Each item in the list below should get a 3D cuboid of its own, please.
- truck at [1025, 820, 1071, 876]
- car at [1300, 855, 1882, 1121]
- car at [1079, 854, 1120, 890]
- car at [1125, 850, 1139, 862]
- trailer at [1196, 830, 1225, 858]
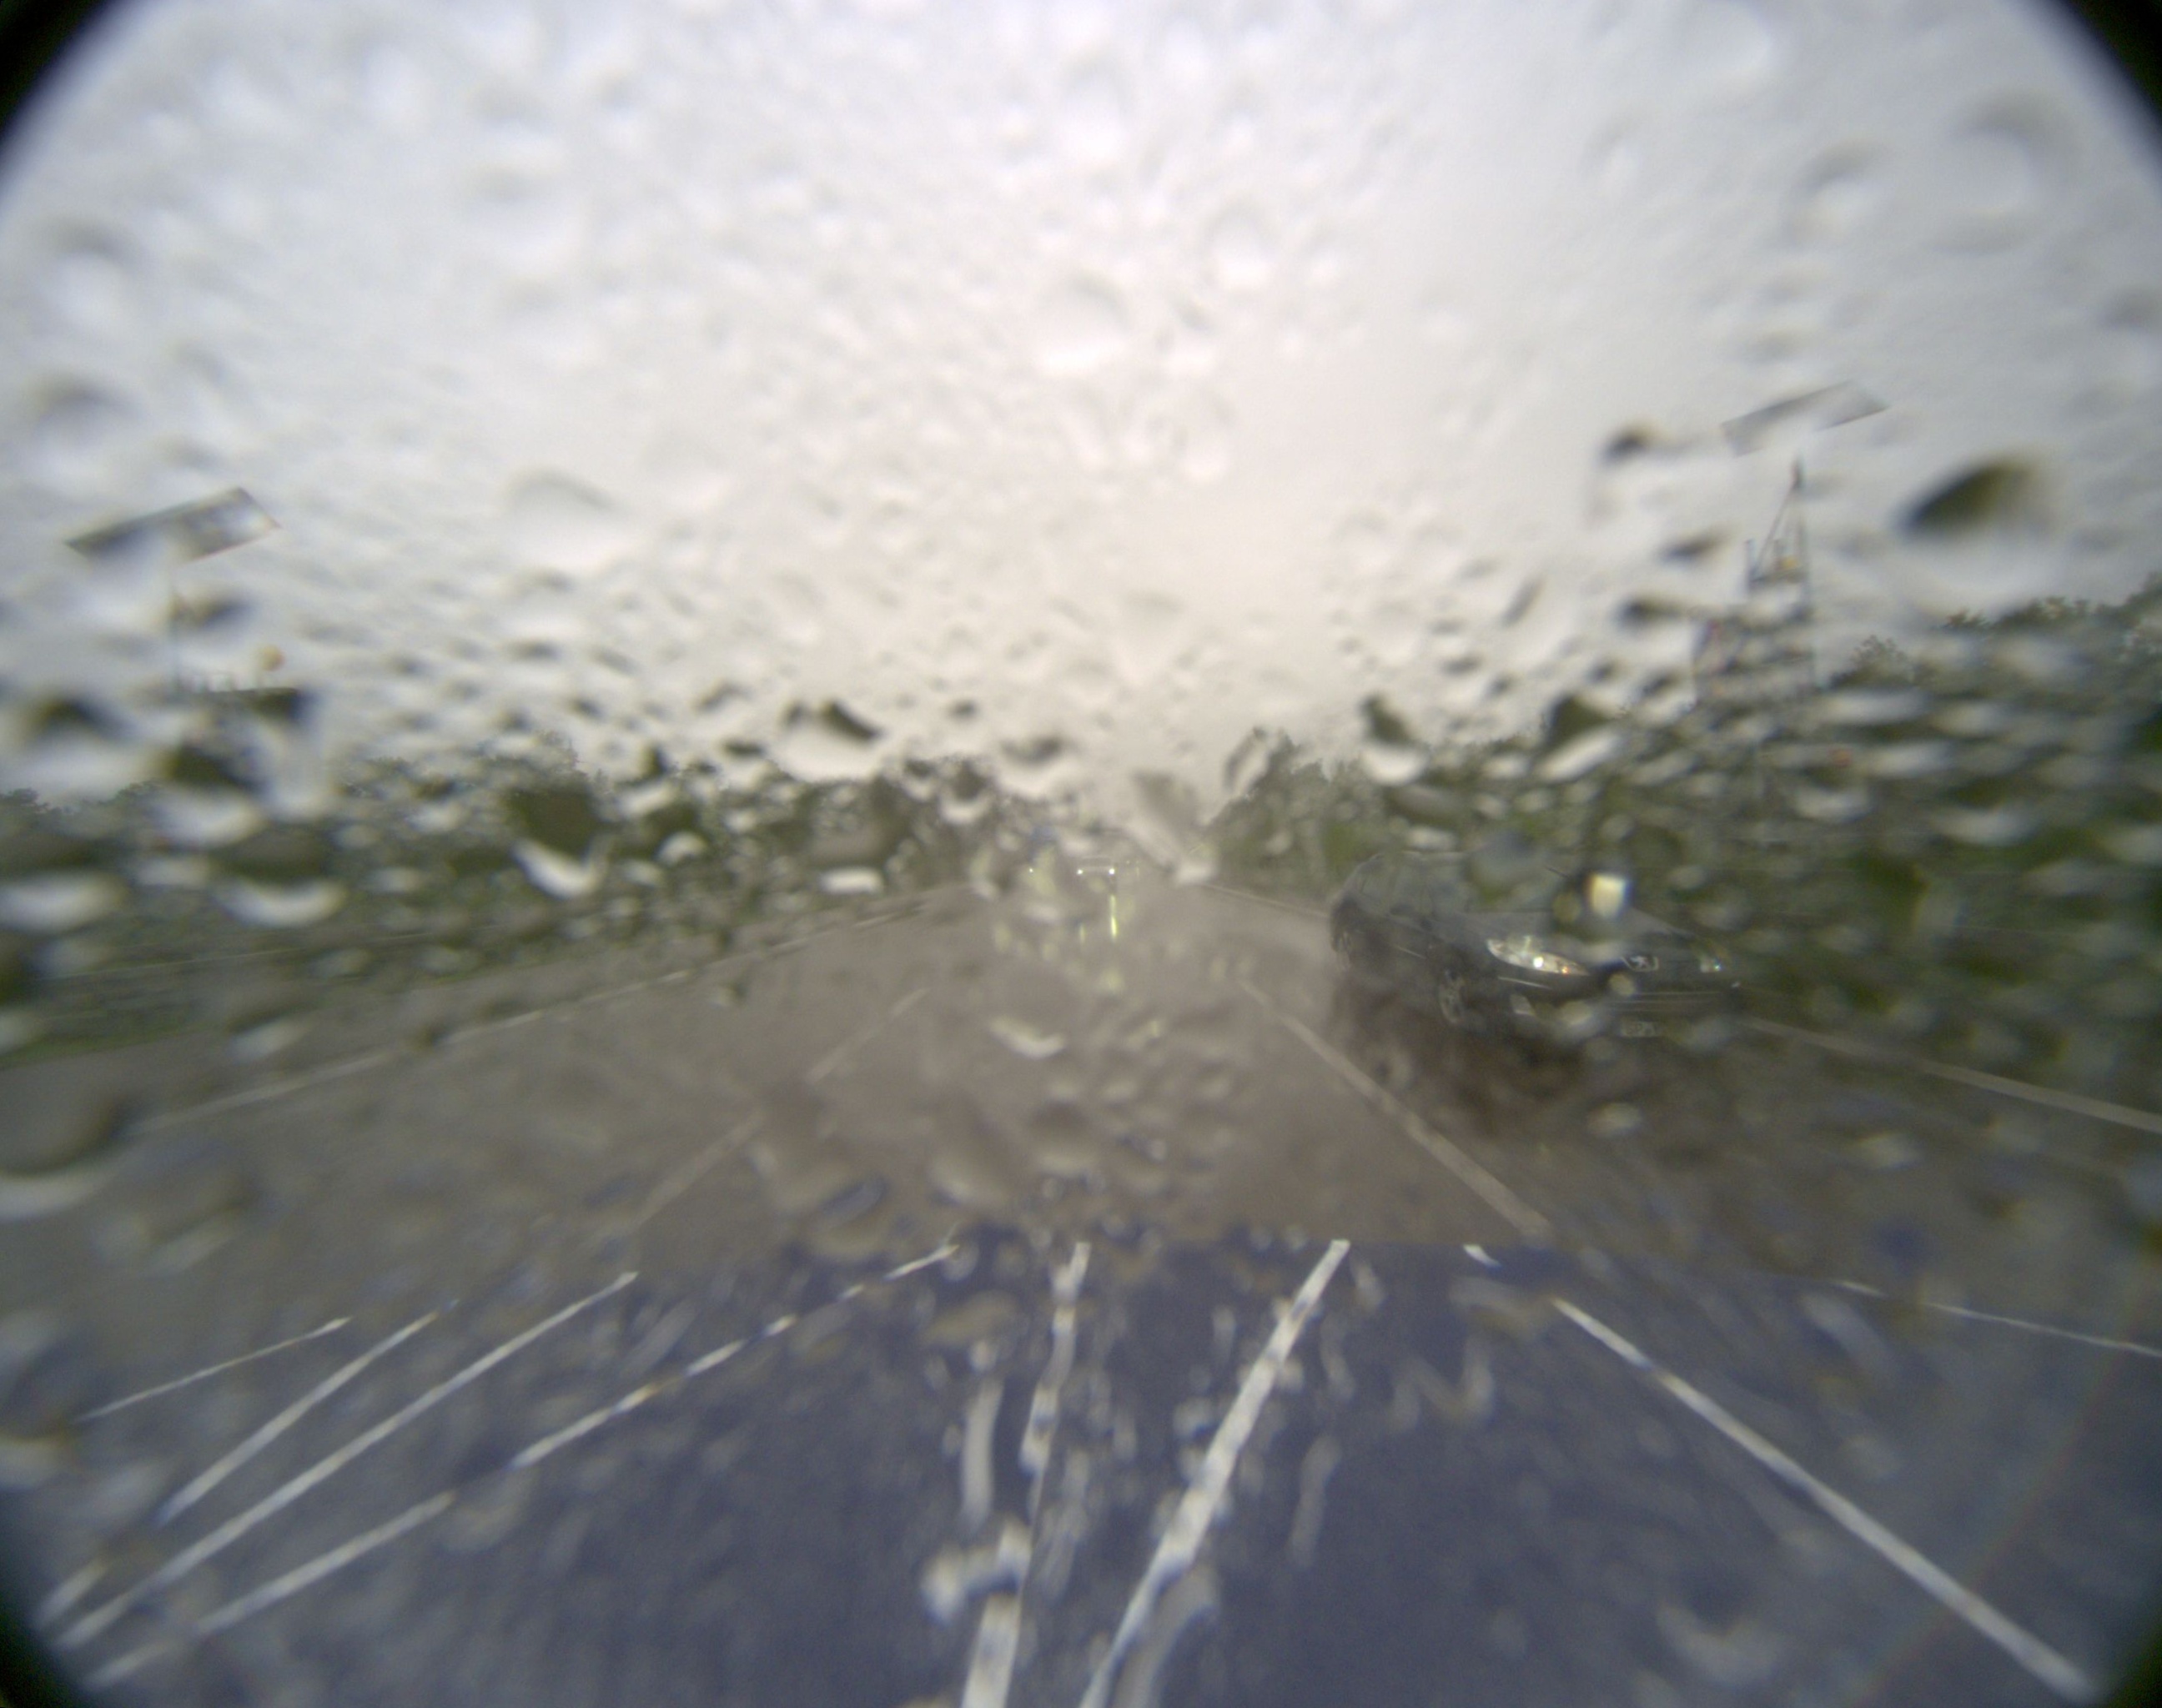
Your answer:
[{"bbox_3d":[-2.446,-0.460,59.073,2.755,4.055,6.484,-1,1,4],"label":"truck"},{"bbox_3d":[3.770,0.808,7.097,2.059,1.477,5.158,-2,0,2],"label":"car"},{"bbox_3d":[0.885,0.795,35.938,1.751,1.545,4.090,-2,0,1],"label":"car"},{"bbox_3d":[7.409,0.286,110.637,1.900,1.533,4.090,-2,0,1],"label":"car"},{"bbox_3d":[23.408,-1.748,137.996,3.877,4.668,15.031,-2,0,5],"label":"trailer"}]
